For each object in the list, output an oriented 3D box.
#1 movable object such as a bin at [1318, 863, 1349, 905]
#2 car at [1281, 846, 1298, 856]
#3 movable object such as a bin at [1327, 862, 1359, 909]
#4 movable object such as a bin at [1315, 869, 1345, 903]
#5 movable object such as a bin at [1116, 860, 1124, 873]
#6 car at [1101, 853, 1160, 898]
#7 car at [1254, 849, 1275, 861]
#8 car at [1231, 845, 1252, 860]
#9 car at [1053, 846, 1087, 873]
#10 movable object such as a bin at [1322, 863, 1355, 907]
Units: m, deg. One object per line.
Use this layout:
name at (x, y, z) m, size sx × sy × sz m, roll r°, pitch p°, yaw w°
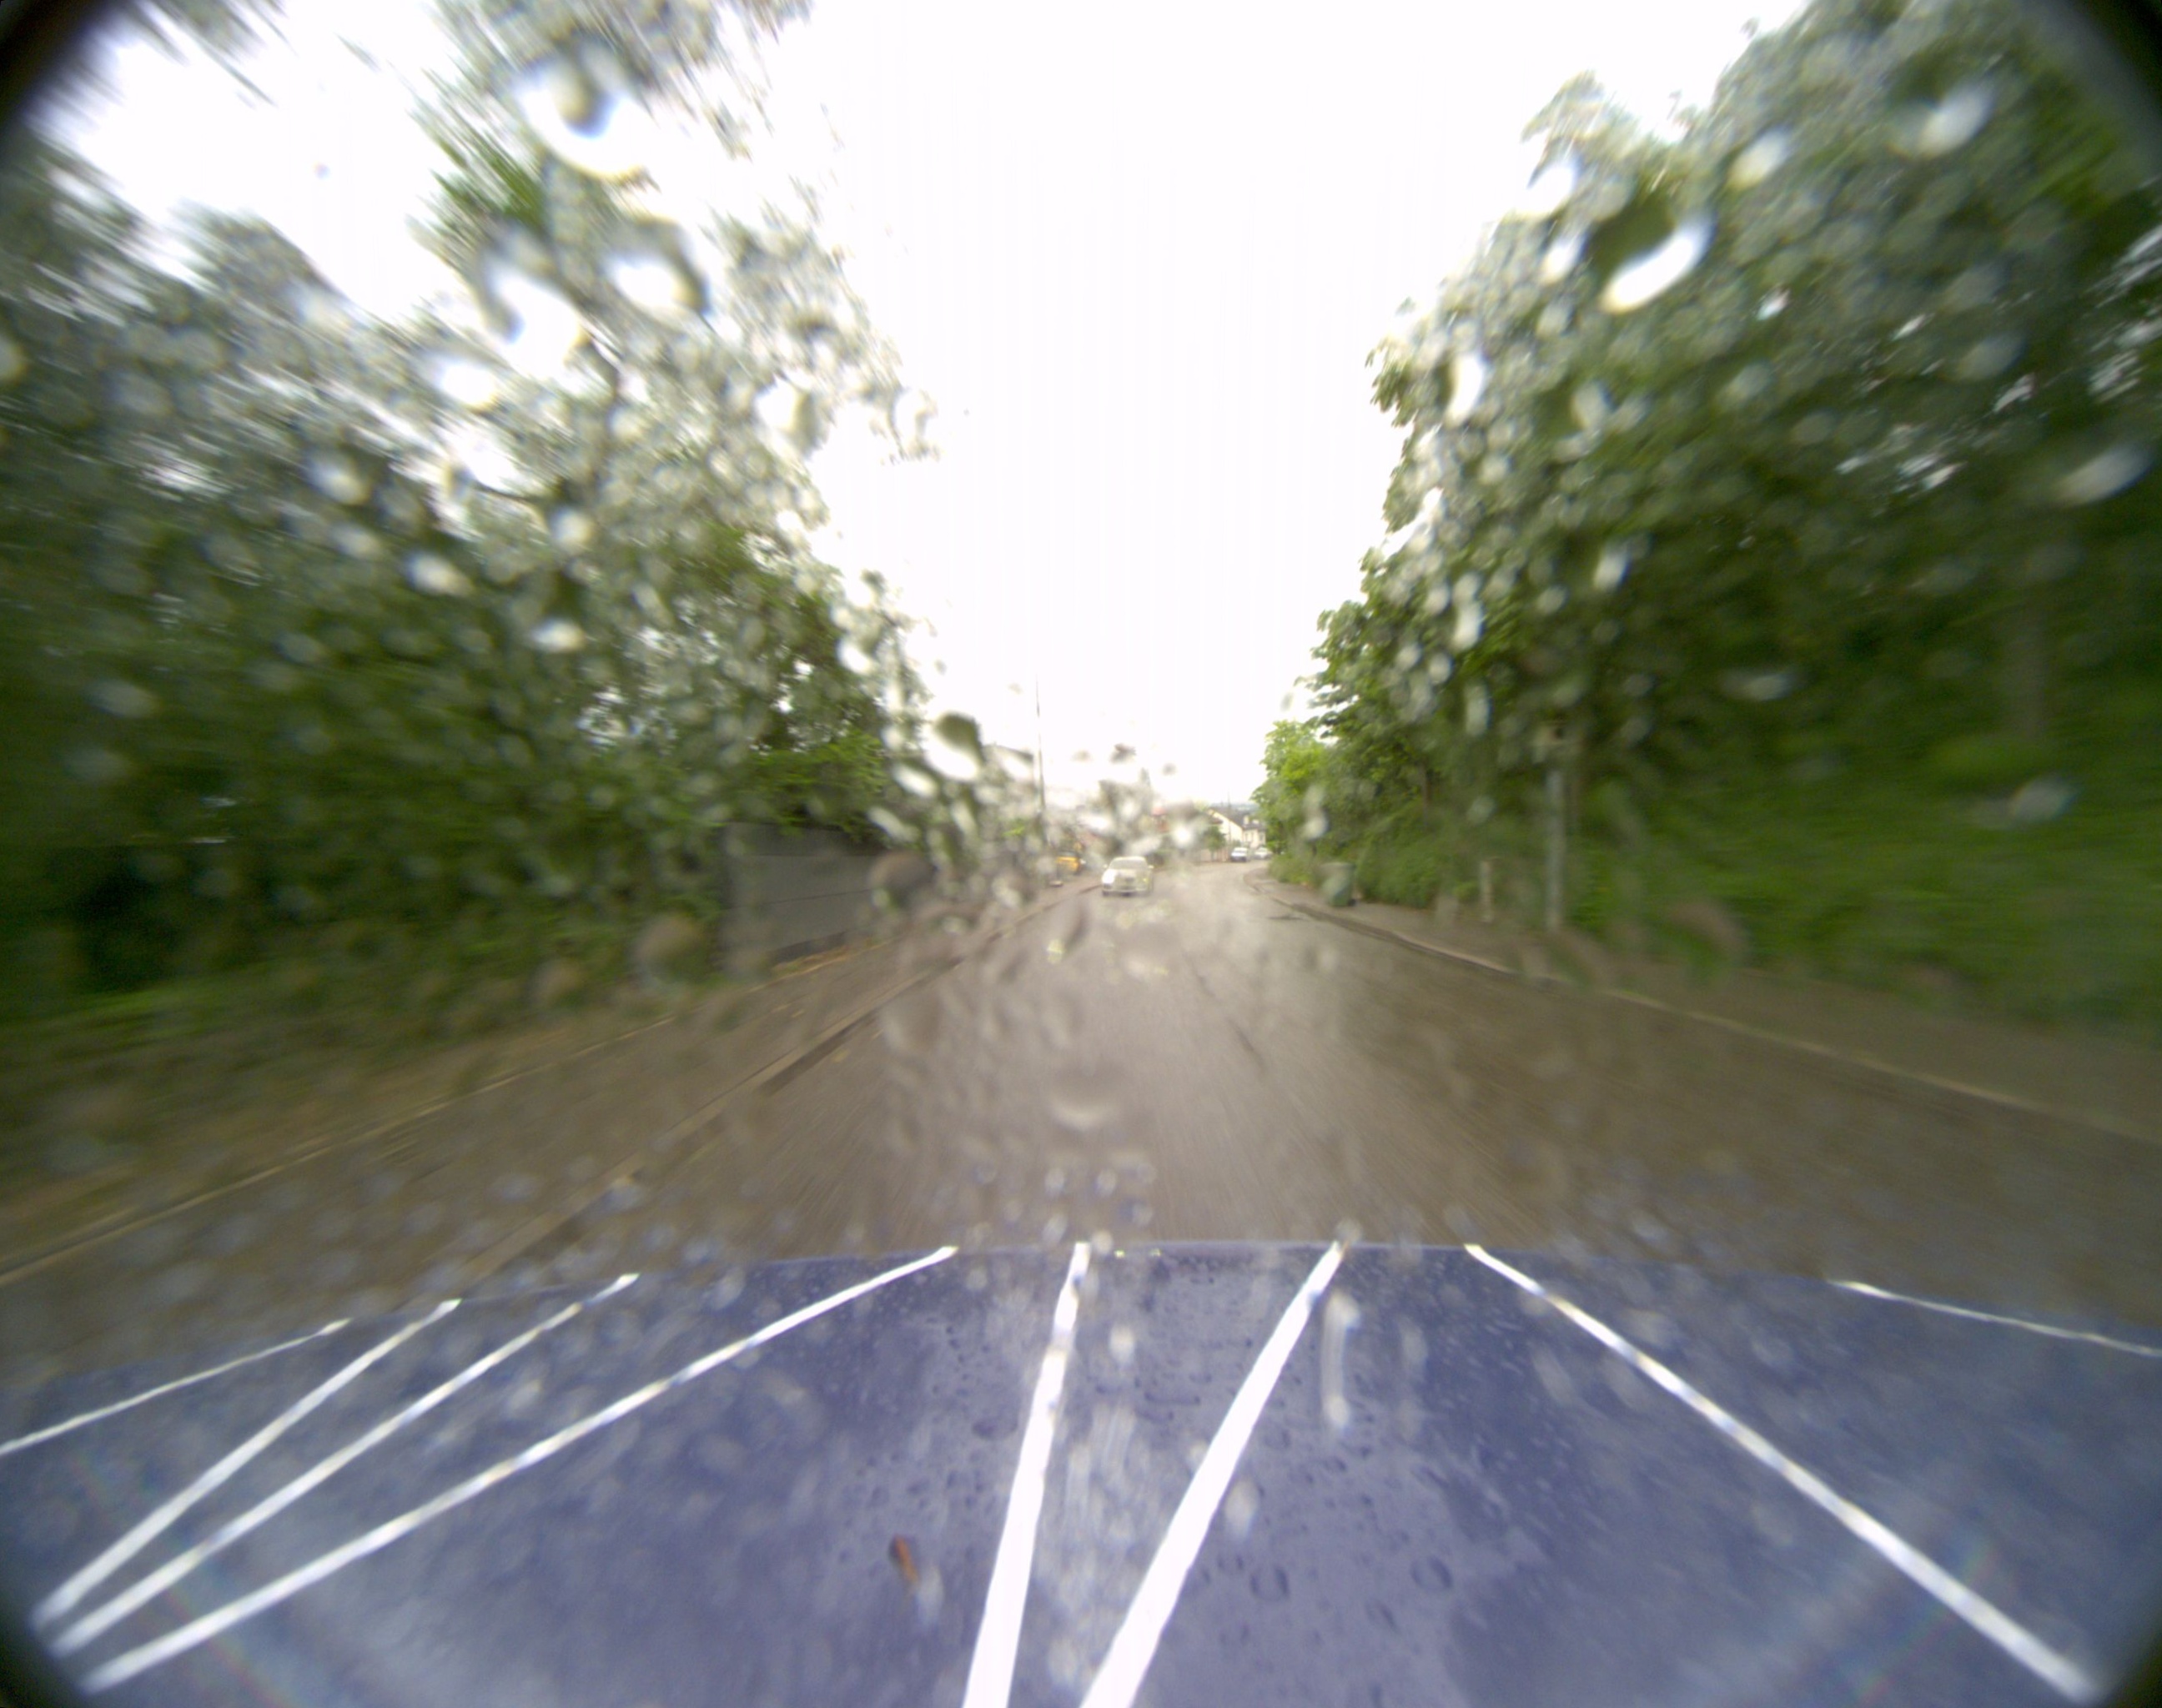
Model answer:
movable object such as a bin at (6.658, 0.796, 20.072) m, size 0.649 × 1.074 × 0.673 m, roll -1°, pitch 1°, yaw 6°
car at (33.291, -0.514, 121.481) m, size 1.659 × 1.459 × 3.770 m, roll 3°, pitch 3°, yaw 30°
movable object such as a bin at (6.470, 0.772, 18.777) m, size 0.649 × 1.109 × 0.505 m, roll -1°, pitch 1°, yaw 6°
movable object such as a bin at (6.835, 0.864, 20.838) m, size 0.649 × 0.906 × 0.673 m, roll -1°, pitch 1°, yaw 6°
movable object such as a bin at (3.035, 0.975, 59.337) m, size 0.505 × 0.964 × 0.595 m, roll -4°, pitch 0°, yaw 13°
car at (1.977, 0.777, 29.287) m, size 1.796 × 1.455 × 4.002 m, roll 1°, pitch 2°, yaw 10°
car at (26.221, 0.115, 108.368) m, size 1.805 × 1.618 × 4.295 m, roll 3°, pitch 3°, yaw 29°
car at (20.416, -0.252, 96.450) m, size 1.780 × 1.793 × 4.714 m, roll 1°, pitch 2°, yaw 22°
car at (-0.661, 0.323, 49.115) m, size 1.631 × 1.485 × 3.427 m, roll 5°, pitch 2°, yaw 6°
movable object such as a bin at (6.553, 0.783, 19.369) m, size 0.649 × 1.097 × 0.673 m, roll -1°, pitch 1°, yaw 6°
